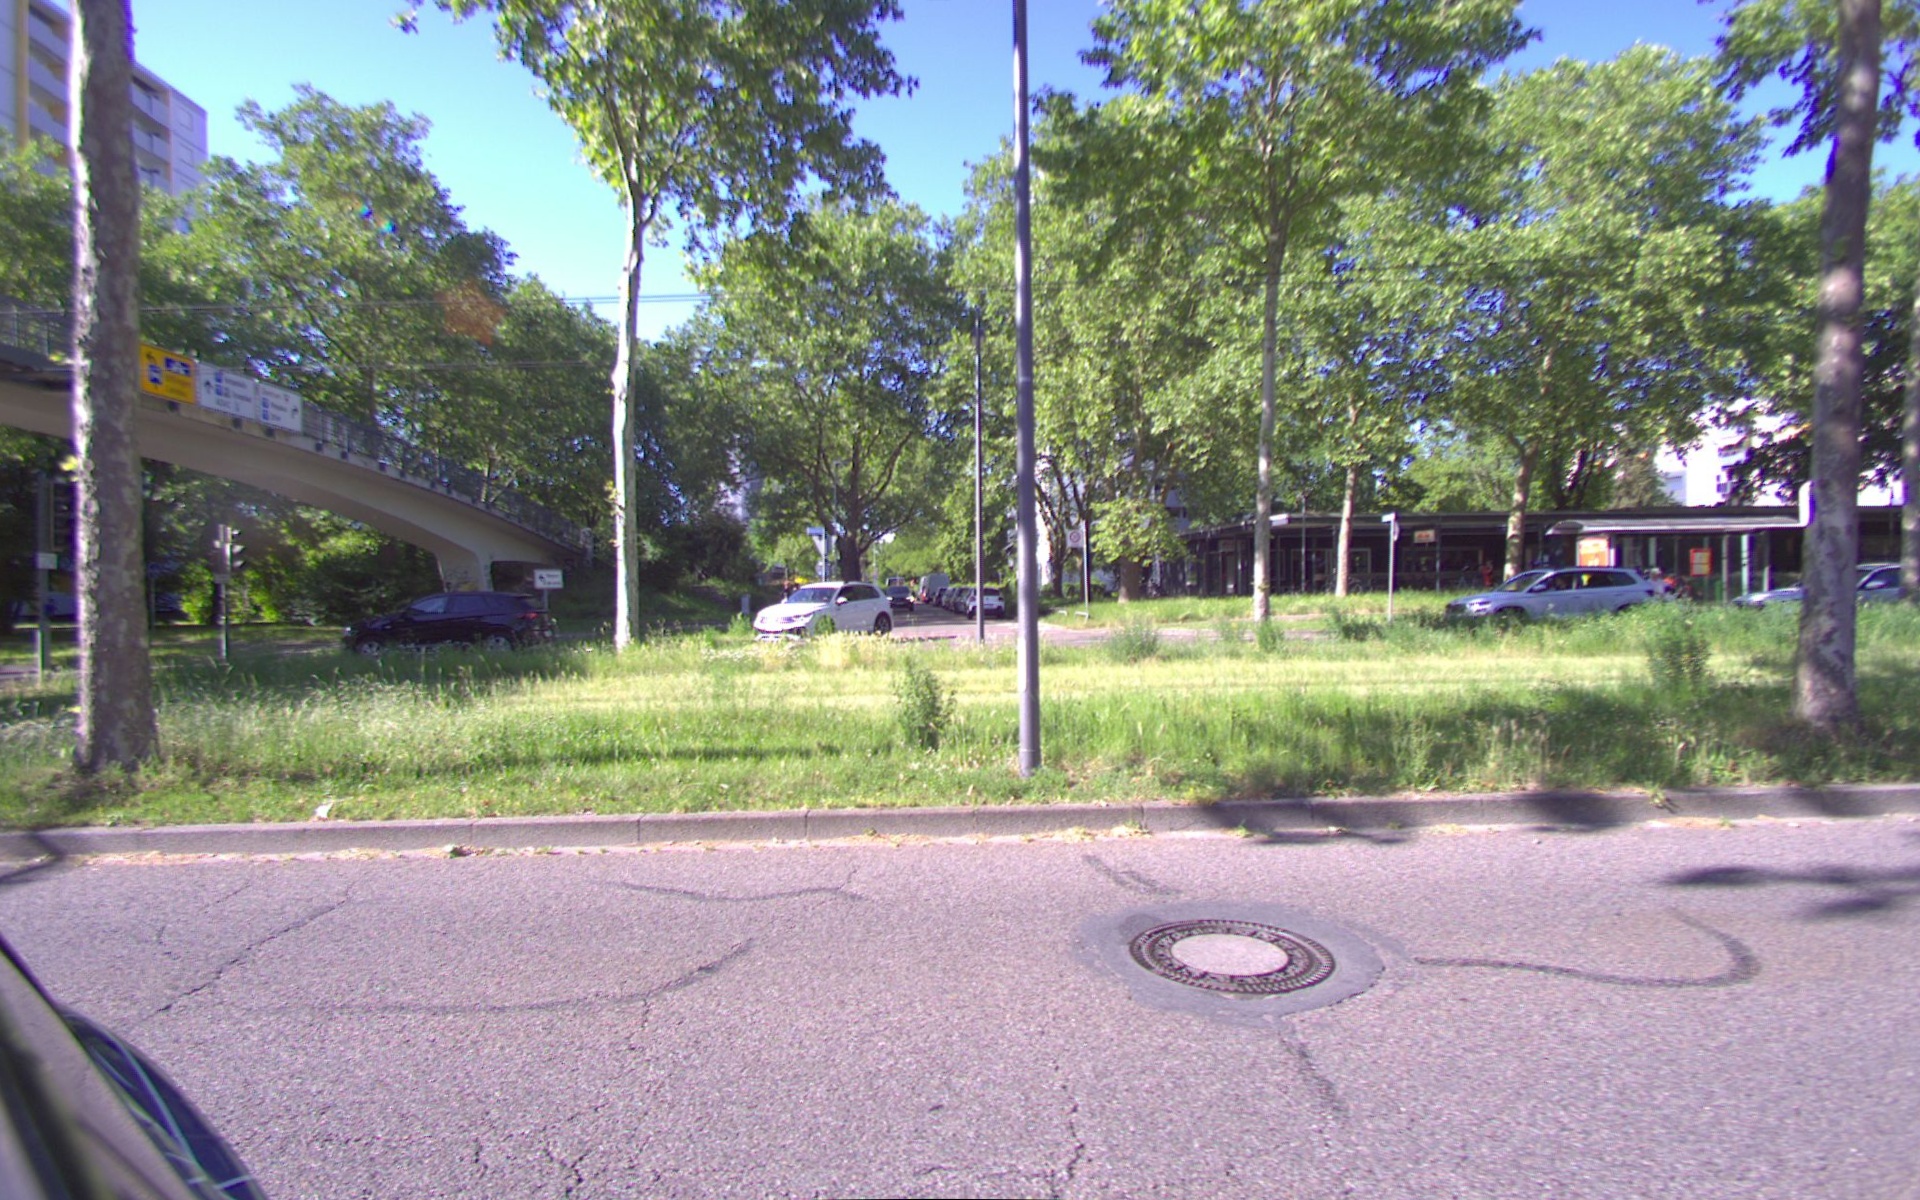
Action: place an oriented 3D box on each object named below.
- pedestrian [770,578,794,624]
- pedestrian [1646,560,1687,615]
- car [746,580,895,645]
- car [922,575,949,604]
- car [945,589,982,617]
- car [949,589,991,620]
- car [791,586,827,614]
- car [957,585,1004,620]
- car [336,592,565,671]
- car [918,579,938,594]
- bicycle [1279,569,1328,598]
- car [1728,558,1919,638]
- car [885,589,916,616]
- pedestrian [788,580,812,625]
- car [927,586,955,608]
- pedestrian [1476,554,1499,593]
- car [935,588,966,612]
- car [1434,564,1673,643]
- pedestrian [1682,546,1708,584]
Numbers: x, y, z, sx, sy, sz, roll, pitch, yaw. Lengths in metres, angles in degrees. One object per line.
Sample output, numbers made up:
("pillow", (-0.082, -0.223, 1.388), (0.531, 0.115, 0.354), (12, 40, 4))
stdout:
("pedestrian", (-7.044, 0.044, 40.047), (0.647, 1.796, 0.644), (-1, 1, 27))
("pedestrian", (19.240, -0.341, 27.559), (0.641, 1.471, 0.649), (-1, 1, 3))
("car", (-3.513, 0.278, 26.189), (1.791, 1.521, 4.050), (-1, 1, 27))
("car", (-2.198, -0.937, 89.520), (2.031, 2.454, 5.014), (-1, 1, -5))
("car", (0.155, 0.137, 57.696), (1.773, 1.521, 4.004), (-1, 1, -5))
("car", (0.476, 0.206, 53.002), (1.773, 1.521, 4.004), (-1, 1, -5))
("car", (-8.832, -0.038, 59.372), (1.773, 1.521, 4.004), (-1, 1, -5))
("car", (0.910, 0.105, 47.247), (1.773, 1.521, 4.004), (-1, 1, -5))
("car", (-11.331, 0.658, 22.762), (4.221, 1.578, 1.803), (-2, 1, -6))
("car", (-3.297, -1.393, 104.060), (1.837, 1.521, 4.004), (-1, 1, -5))
("bicycle", (13.803, -0.660, 40.648), (1.772, 1.116, 0.557), (-2, 1, -7))
("car", (18.833, -0.075, 20.845), (4.608, 1.521, 1.800), (-2, 1, 0))
("car", (-3.681, 0.131, 62.161), (1.773, 1.521, 4.004), (-1, 1, -5))
("pedestrian", (-6.221, 0.096, 39.326), (0.647, 1.718, 0.644), (-1, 1, 28))
("car", (-1.434, -0.206, 74.348), (1.773, 1.521, 4.004), (-1, 1, -5))
("pedestrian", (23.056, -1.168, 44.239), (0.640, 1.674, 0.651), (-1, 1, -4))
("car", (-0.675, -0.009, 68.297), (1.773, 1.521, 4.004), (-1, 1, -5))
("car", (13.216, 0.060, 22.739), (4.230, 1.592, 1.799), (-1, 1, 2))
("pedestrian", (32.994, -1.584, 45.428), (0.640, 1.674, 0.651), (-1, 1, -4))
